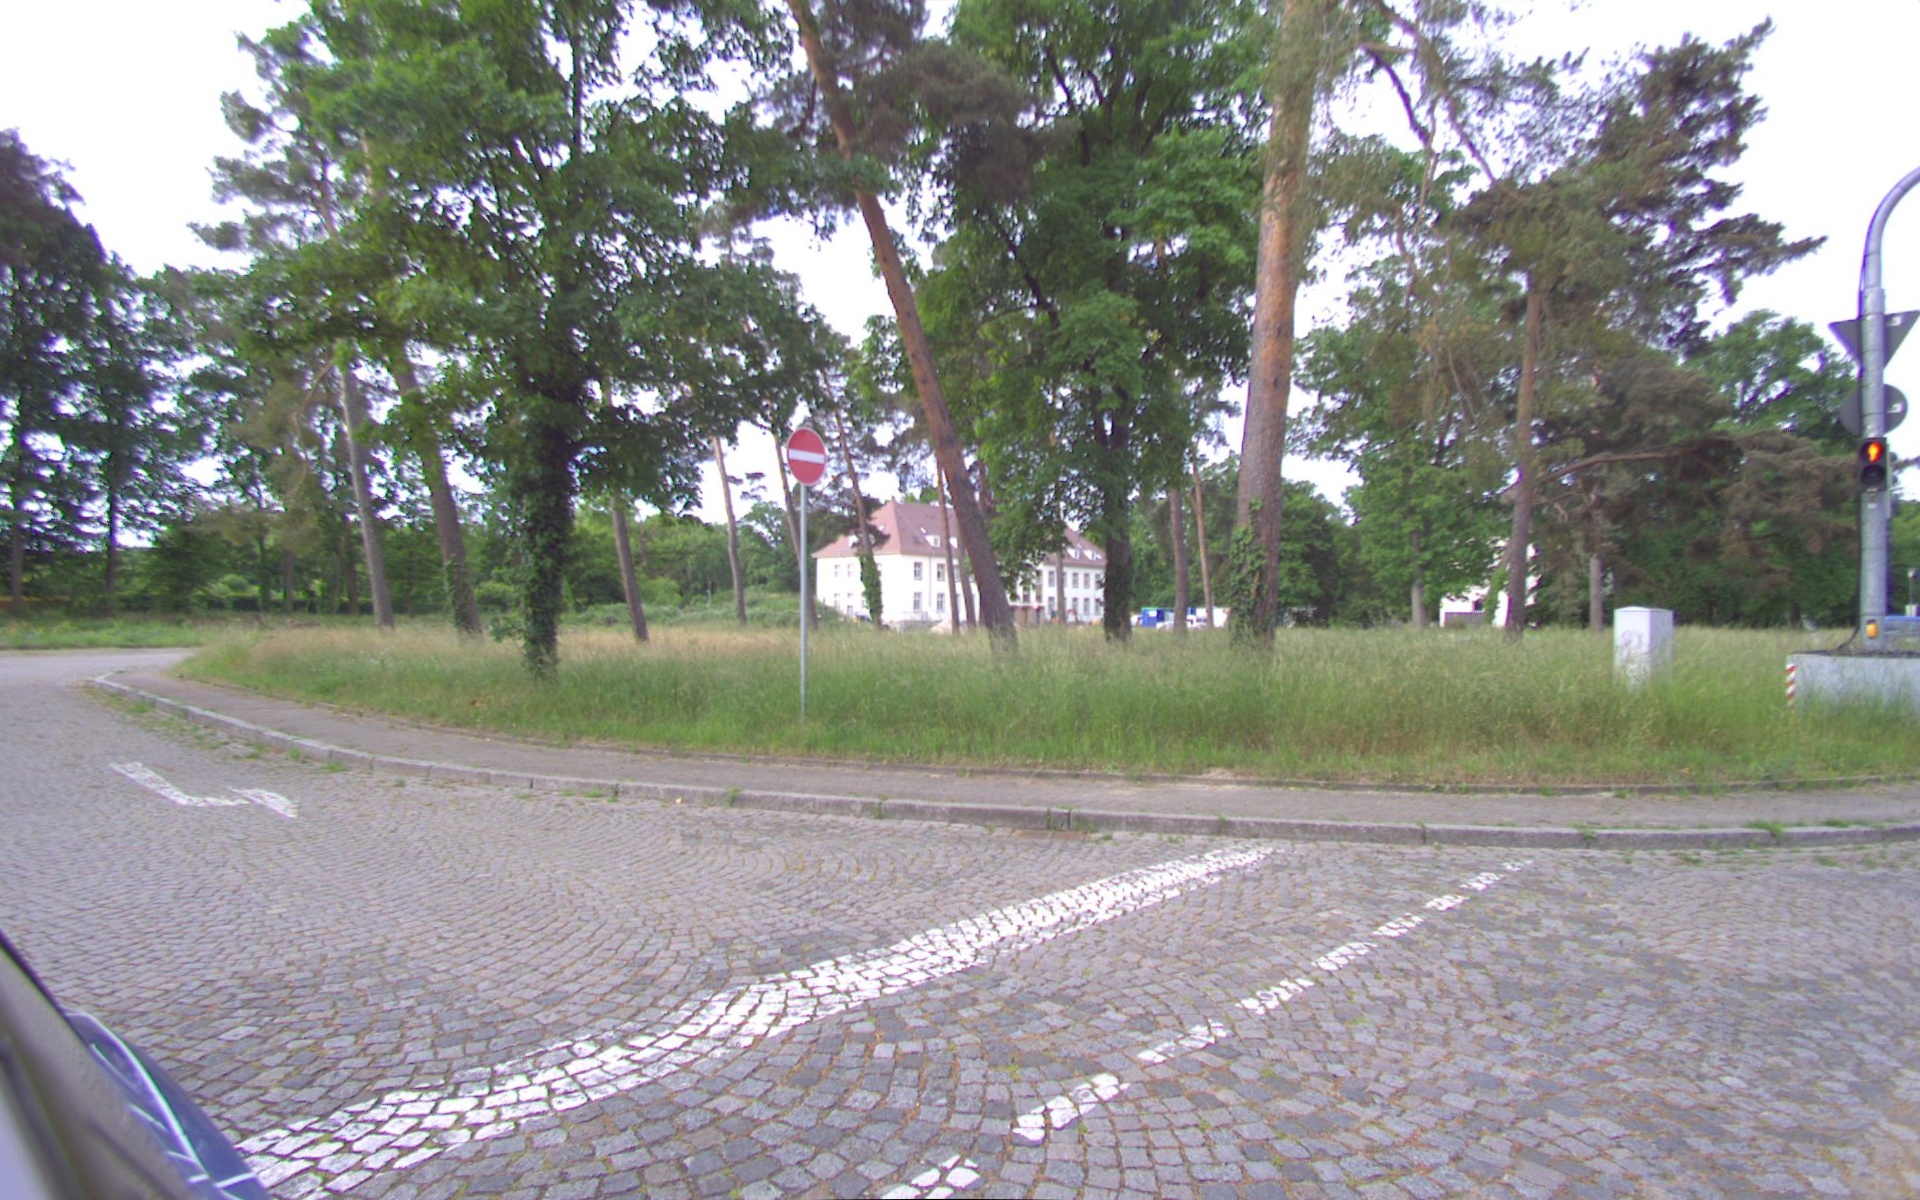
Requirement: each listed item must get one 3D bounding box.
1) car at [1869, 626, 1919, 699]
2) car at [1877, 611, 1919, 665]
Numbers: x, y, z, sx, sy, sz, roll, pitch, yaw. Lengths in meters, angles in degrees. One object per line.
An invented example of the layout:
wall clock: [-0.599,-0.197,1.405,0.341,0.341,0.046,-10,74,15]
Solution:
car: [21.044,1.277,20.421,3.999,1.483,1.667,-1,-1,42]
car: [36.985,1.396,37.210,4.794,1.996,1.969,-2,-2,43]
